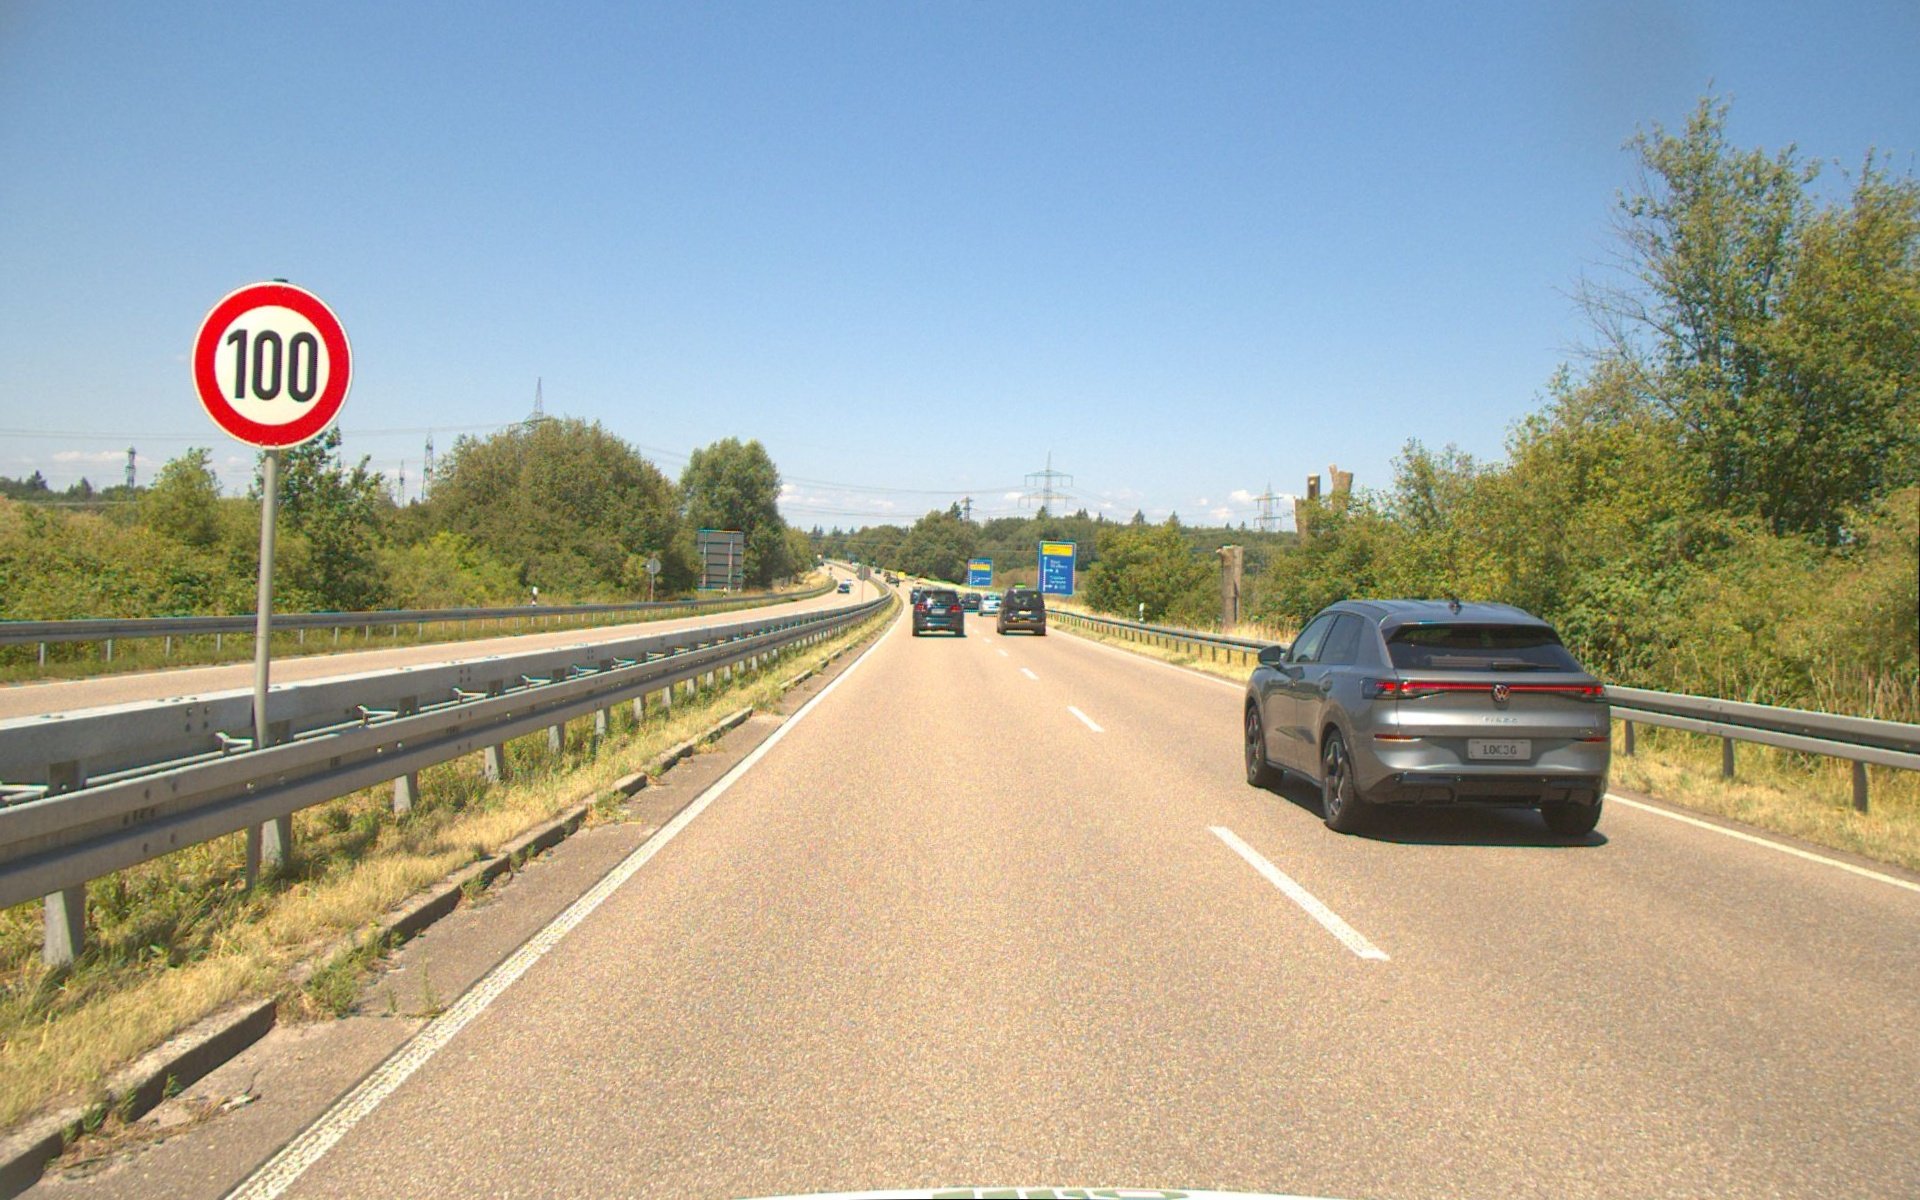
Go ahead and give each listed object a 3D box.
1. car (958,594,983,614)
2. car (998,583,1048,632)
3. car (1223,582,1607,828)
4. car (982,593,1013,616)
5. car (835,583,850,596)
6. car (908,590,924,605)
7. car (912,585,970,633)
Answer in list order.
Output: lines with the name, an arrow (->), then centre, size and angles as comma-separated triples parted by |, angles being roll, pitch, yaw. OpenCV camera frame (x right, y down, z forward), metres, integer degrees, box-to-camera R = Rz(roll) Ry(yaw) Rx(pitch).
car -> 0.802, 0.271, 126.933 | 1.783, 1.439, 3.999 | 1, 1, -2
car -> 2.491, 0.268, 65.988 | 1.743, 1.848, 4.212 | 1, 0, -1
car -> 3.321, 0.674, 12.905 | 1.749, 1.580, 4.018 | 1, 1, -2
car -> 2.490, 0.272, 109.859 | 1.743, 1.505, 4.313 | 1, 0, -3
car -> -17.260, -1.600, 243.290 | 1.954, 1.665, 4.872 | 4, 1, -1
car -> -4.753, -0.290, 178.030 | 1.485, 1.500, 3.065 | 4, 1, -3
car -> -0.735, 0.320, 61.024 | 1.954, 1.683, 3.998 | 1, 0, -3
